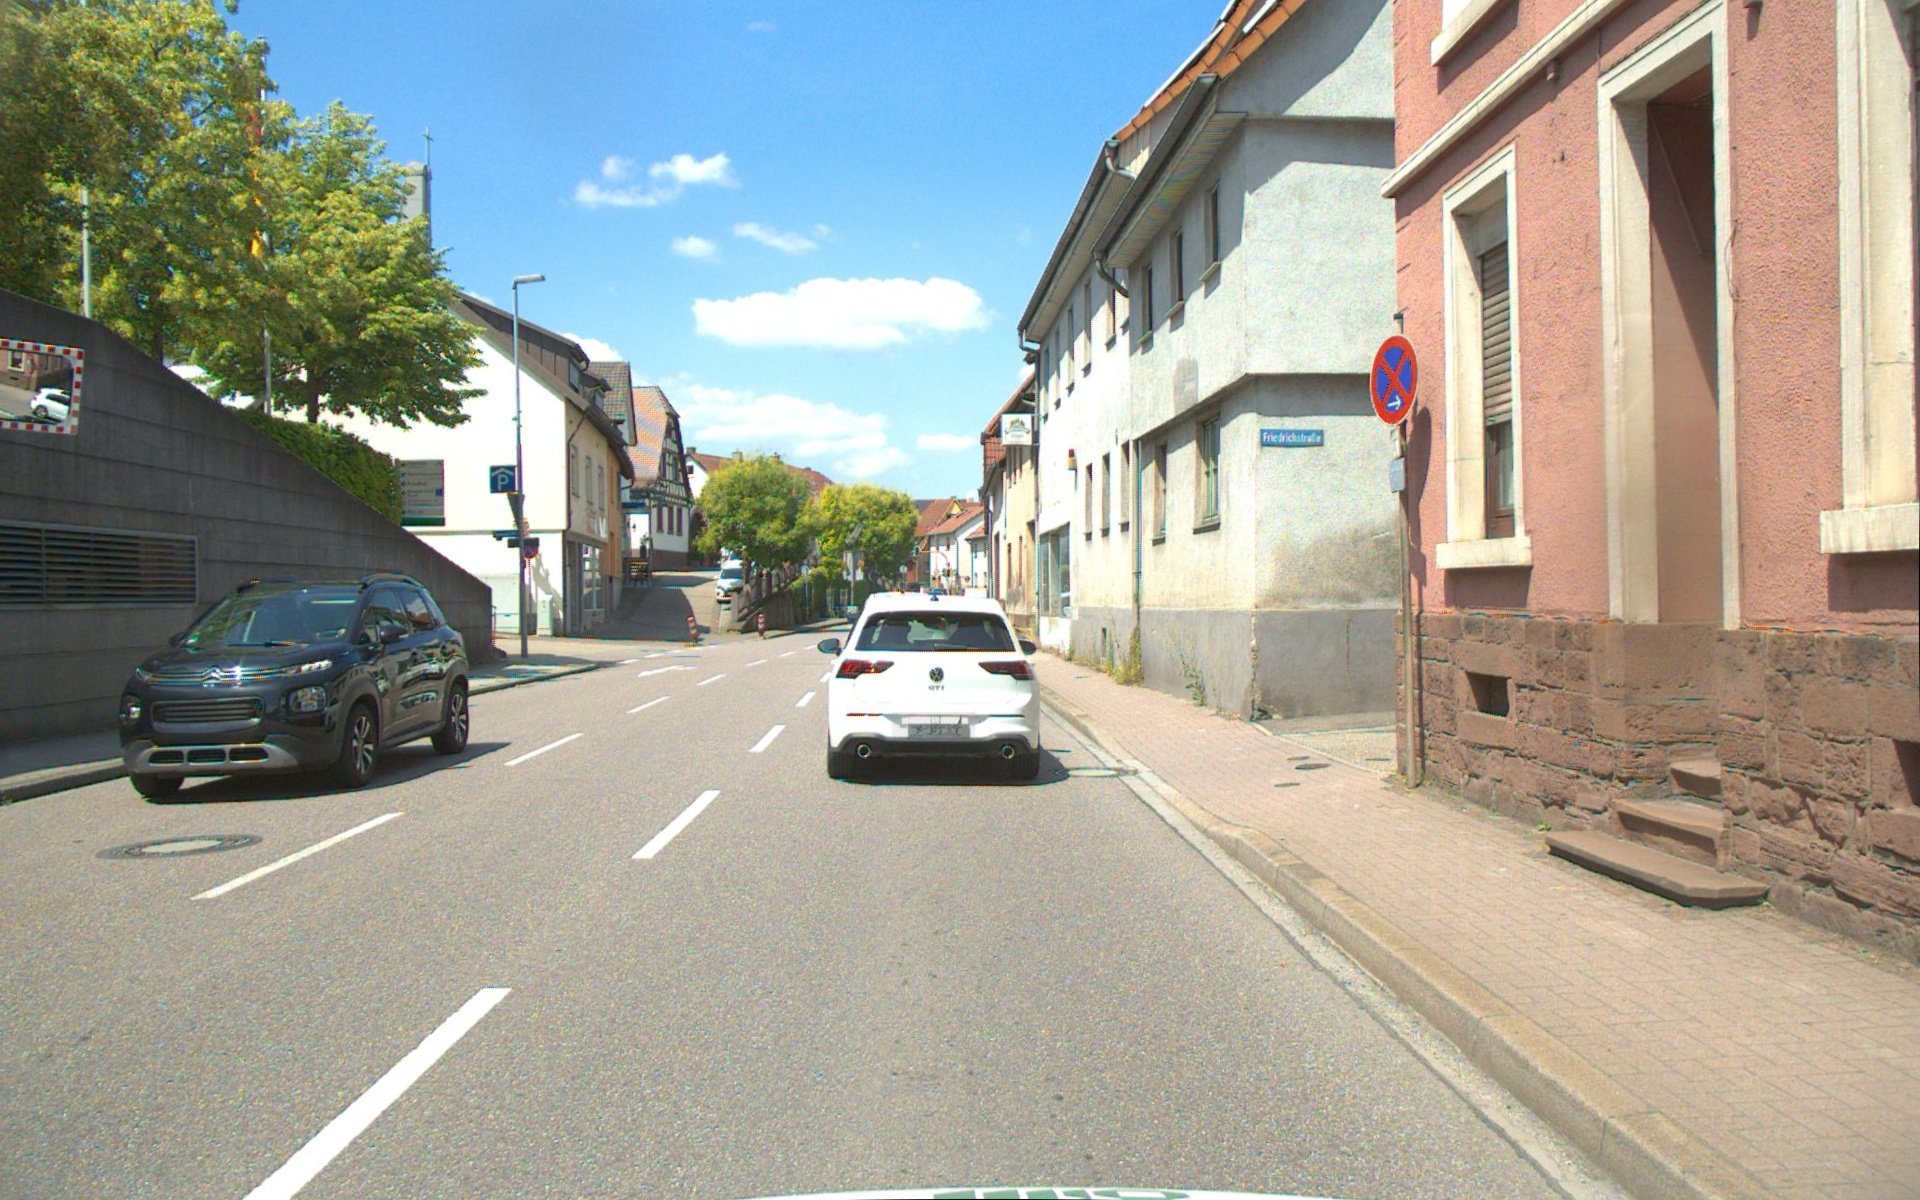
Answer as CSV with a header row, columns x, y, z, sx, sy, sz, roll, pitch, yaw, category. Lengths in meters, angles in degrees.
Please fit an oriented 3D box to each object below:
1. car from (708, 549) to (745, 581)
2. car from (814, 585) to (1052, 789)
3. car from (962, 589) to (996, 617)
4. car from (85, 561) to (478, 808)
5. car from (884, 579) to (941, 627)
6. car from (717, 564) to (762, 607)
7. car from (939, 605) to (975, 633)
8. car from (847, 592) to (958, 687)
x,y,z,sx,sy,sz,roll,pitch,yaw,category
-12.271,-1.875,87.213,1.545,1.385,3.856,0,6,-2,car
-0.111,0.666,14.523,1.770,1.493,4.001,1,0,3,car
1.282,0.191,110.754,1.737,1.796,4.003,0,0,9,car
-5.397,0.592,13.745,1.636,1.686,4.016,-2,0,-1,car
-1.534,0.097,54.402,1.771,1.493,3.999,1,0,-1,car
-9.931,-0.680,74.590,1.659,1.569,3.856,0,6,-2,car
-0.155,1.078,94.801,1.738,1.565,4.002,0,0,4,car
-1.048,0.642,28.765,1.772,1.493,3.997,1,0,-4,car
